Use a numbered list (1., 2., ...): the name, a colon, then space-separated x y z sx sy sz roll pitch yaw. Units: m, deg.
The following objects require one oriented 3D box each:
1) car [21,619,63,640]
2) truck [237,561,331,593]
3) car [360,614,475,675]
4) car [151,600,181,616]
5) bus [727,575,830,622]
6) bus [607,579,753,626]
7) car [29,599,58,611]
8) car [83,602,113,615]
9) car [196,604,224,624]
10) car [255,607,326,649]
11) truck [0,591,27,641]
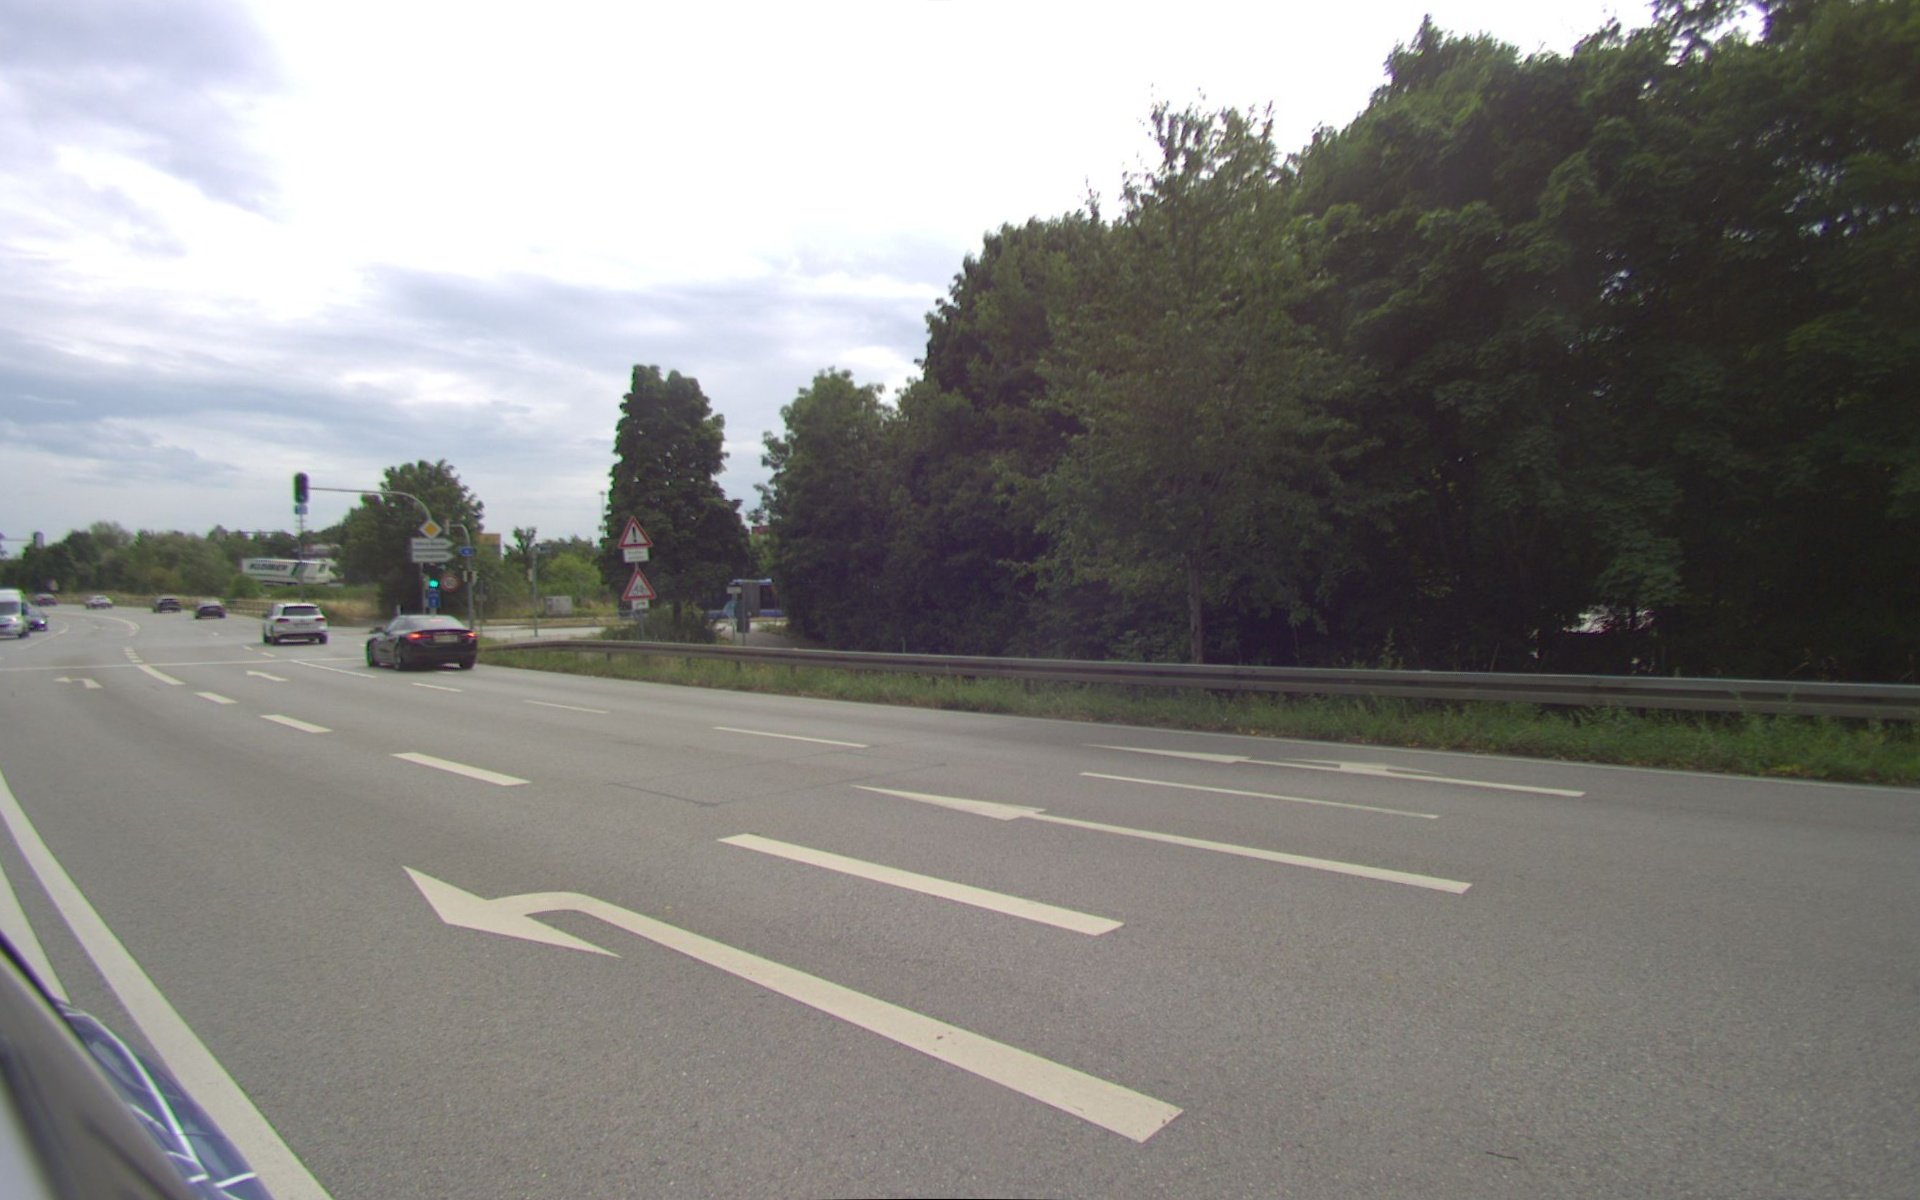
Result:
1. car: -60.600 1.981 66.875 1.717 1.335 4.008 2 -2 -38
2. truck: -106.925 -3.583 160.061 14.060 4.357 3.352 3 1 11
3. car: -14.851 1.178 27.572 1.697 1.509 4.553 0 -2 -43
4. car: -79.092 0.779 100.757 4.001 1.395 1.721 0 2 43
5. bus: -13.915 -0.143 78.133 3.119 3.372 7.722 -1 0 39
6. bus: -19.492 0.095 71.257 3.119 3.069 9.941 -1 0 39
7. car: -117.820 0.677 130.061 3.988 1.395 1.727 0 3 33
8. car: -100.416 0.993 117.873 3.992 1.497 1.724 -1 2 36
9. car: -59.683 1.073 80.561 1.717 1.497 4.209 -1 0 -37
10. car: -28.316 1.160 42.740 1.835 1.656 4.743 1 -1 -42
11. truck: -52.868 0.871 55.596 2.344 2.613 6.005 0 0 -43
